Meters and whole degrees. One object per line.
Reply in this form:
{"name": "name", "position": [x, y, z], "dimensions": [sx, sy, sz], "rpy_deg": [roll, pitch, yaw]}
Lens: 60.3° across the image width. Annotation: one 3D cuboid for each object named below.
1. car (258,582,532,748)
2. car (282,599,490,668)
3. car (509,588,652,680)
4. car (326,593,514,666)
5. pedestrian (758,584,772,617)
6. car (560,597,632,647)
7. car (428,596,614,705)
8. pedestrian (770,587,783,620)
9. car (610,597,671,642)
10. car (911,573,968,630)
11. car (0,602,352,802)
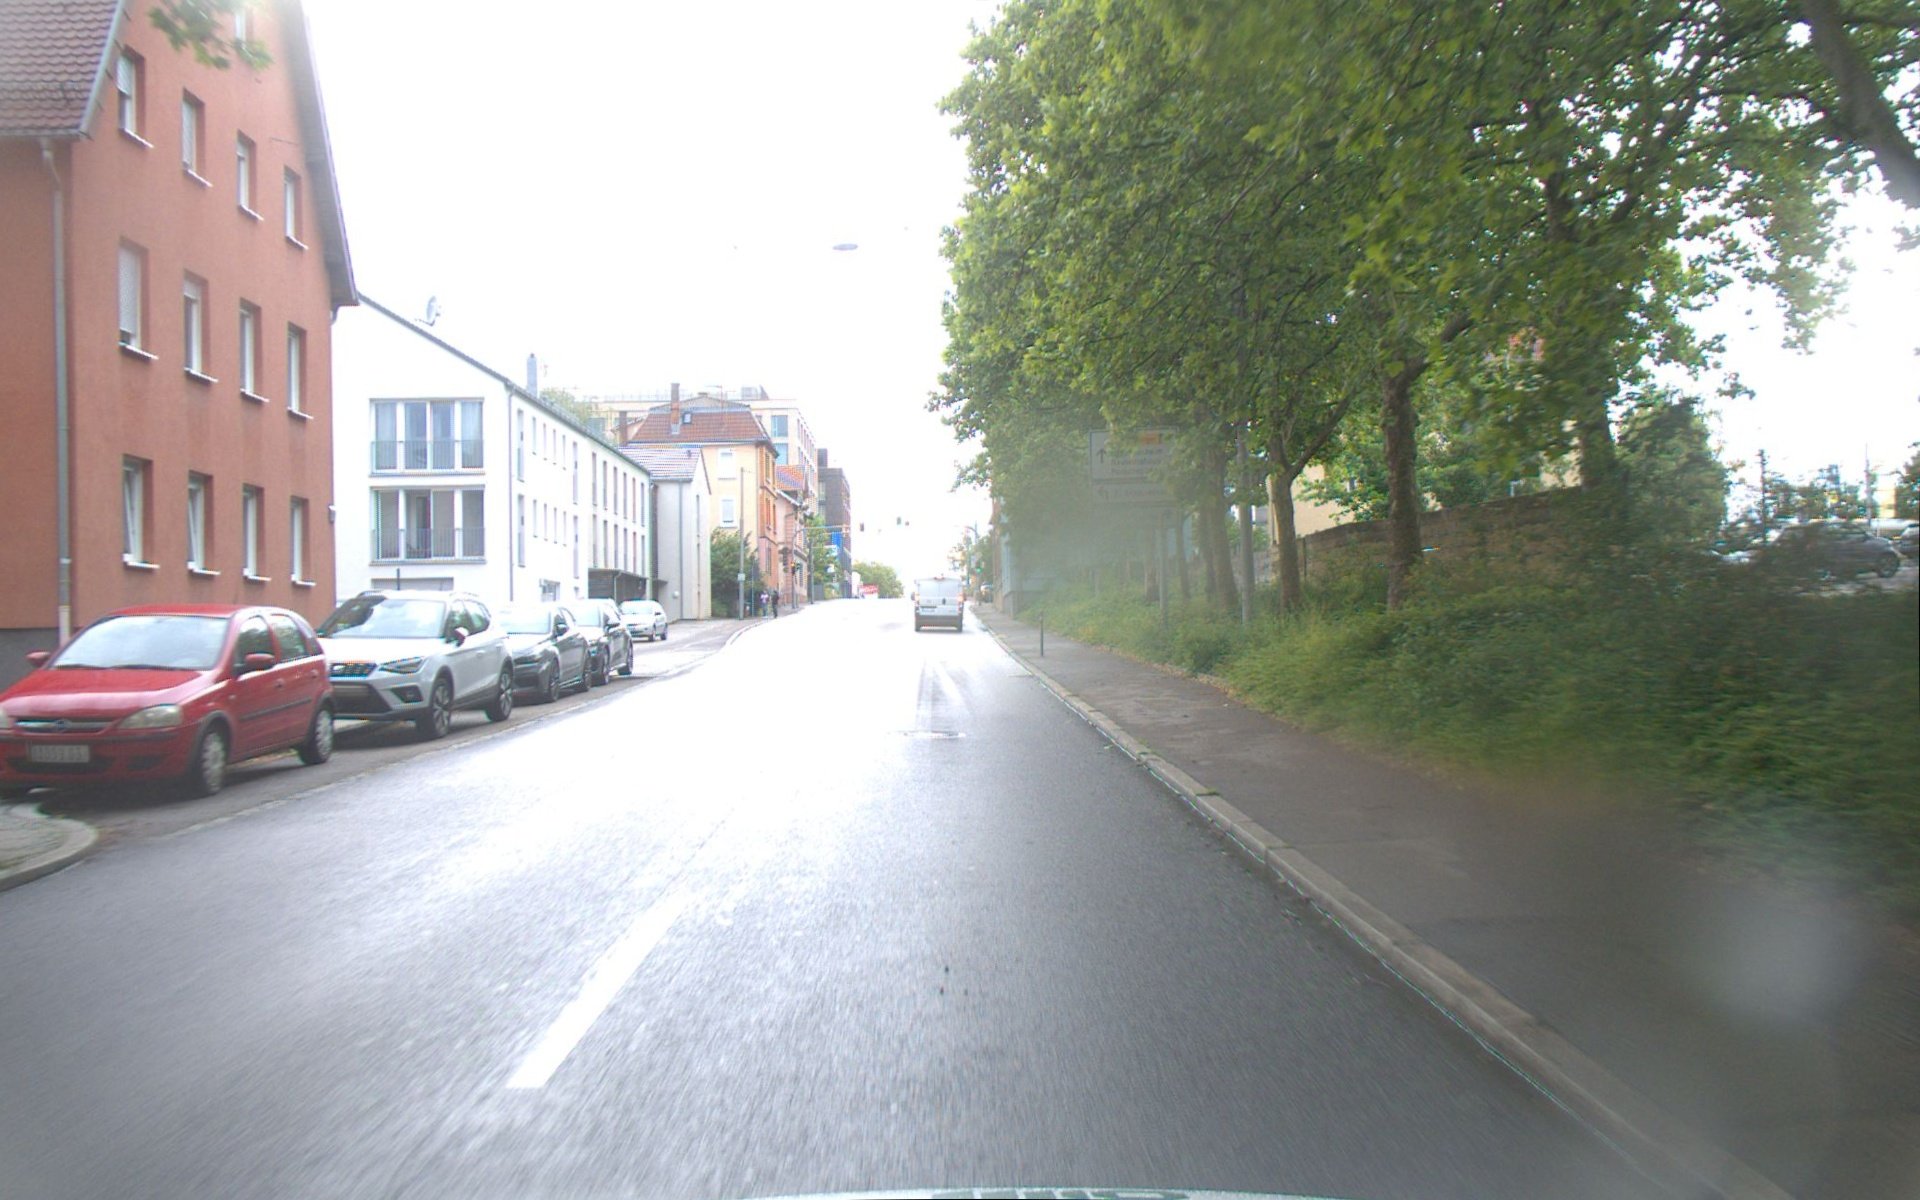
{"name": "car", "position": [-6.253, 0.633, 18.820], "dimensions": [1.656, 1.569, 4.117], "rpy_deg": [-3, 1, -1]}
{"name": "car", "position": [-13.655, 0.775, 39.524], "dimensions": [4.202, 1.489, 2.068], "rpy_deg": [-1, 0, -1]}
{"name": "car", "position": [-6.774, 0.586, 29.944], "dimensions": [1.601, 1.508, 4.358], "rpy_deg": [1, 0, -1]}
{"name": "car", "position": [-13.700, 0.733, 42.105], "dimensions": [4.063, 1.727, 2.001], "rpy_deg": [-1, 0, 2]}
{"name": "pedestrian", "position": [-12.075, 0.017, 102.414], "dimensions": [0.657, 2.049, 0.942], "rpy_deg": [0, 0, 3]}
{"name": "car", "position": [-11.974, 0.691, 54.626], "dimensions": [1.634, 1.557, 4.093], "rpy_deg": [-1, 0, -3]}
{"name": "car", "position": [-6.571, 0.700, 25.234], "dimensions": [1.708, 1.508, 4.385], "rpy_deg": [0, 0, -1]}
{"name": "pedestrian", "position": [-11.355, 0.221, 102.383], "dimensions": [0.657, 2.049, 0.942], "rpy_deg": [0, 0, 3]}
{"name": "car", "position": [-11.856, 0.707, 61.592], "dimensions": [1.634, 1.557, 4.093], "rpy_deg": [-1, 0, -3]}
{"name": "car", "position": [-0.853, 0.091, 69.581], "dimensions": [2.288, 2.270, 3.999], "rpy_deg": [-1, -1, 0]}
{"name": "car", "position": [-6.386, 0.718, 13.493], "dimensions": [1.606, 1.397, 3.757], "rpy_deg": [0, 0, -3]}
